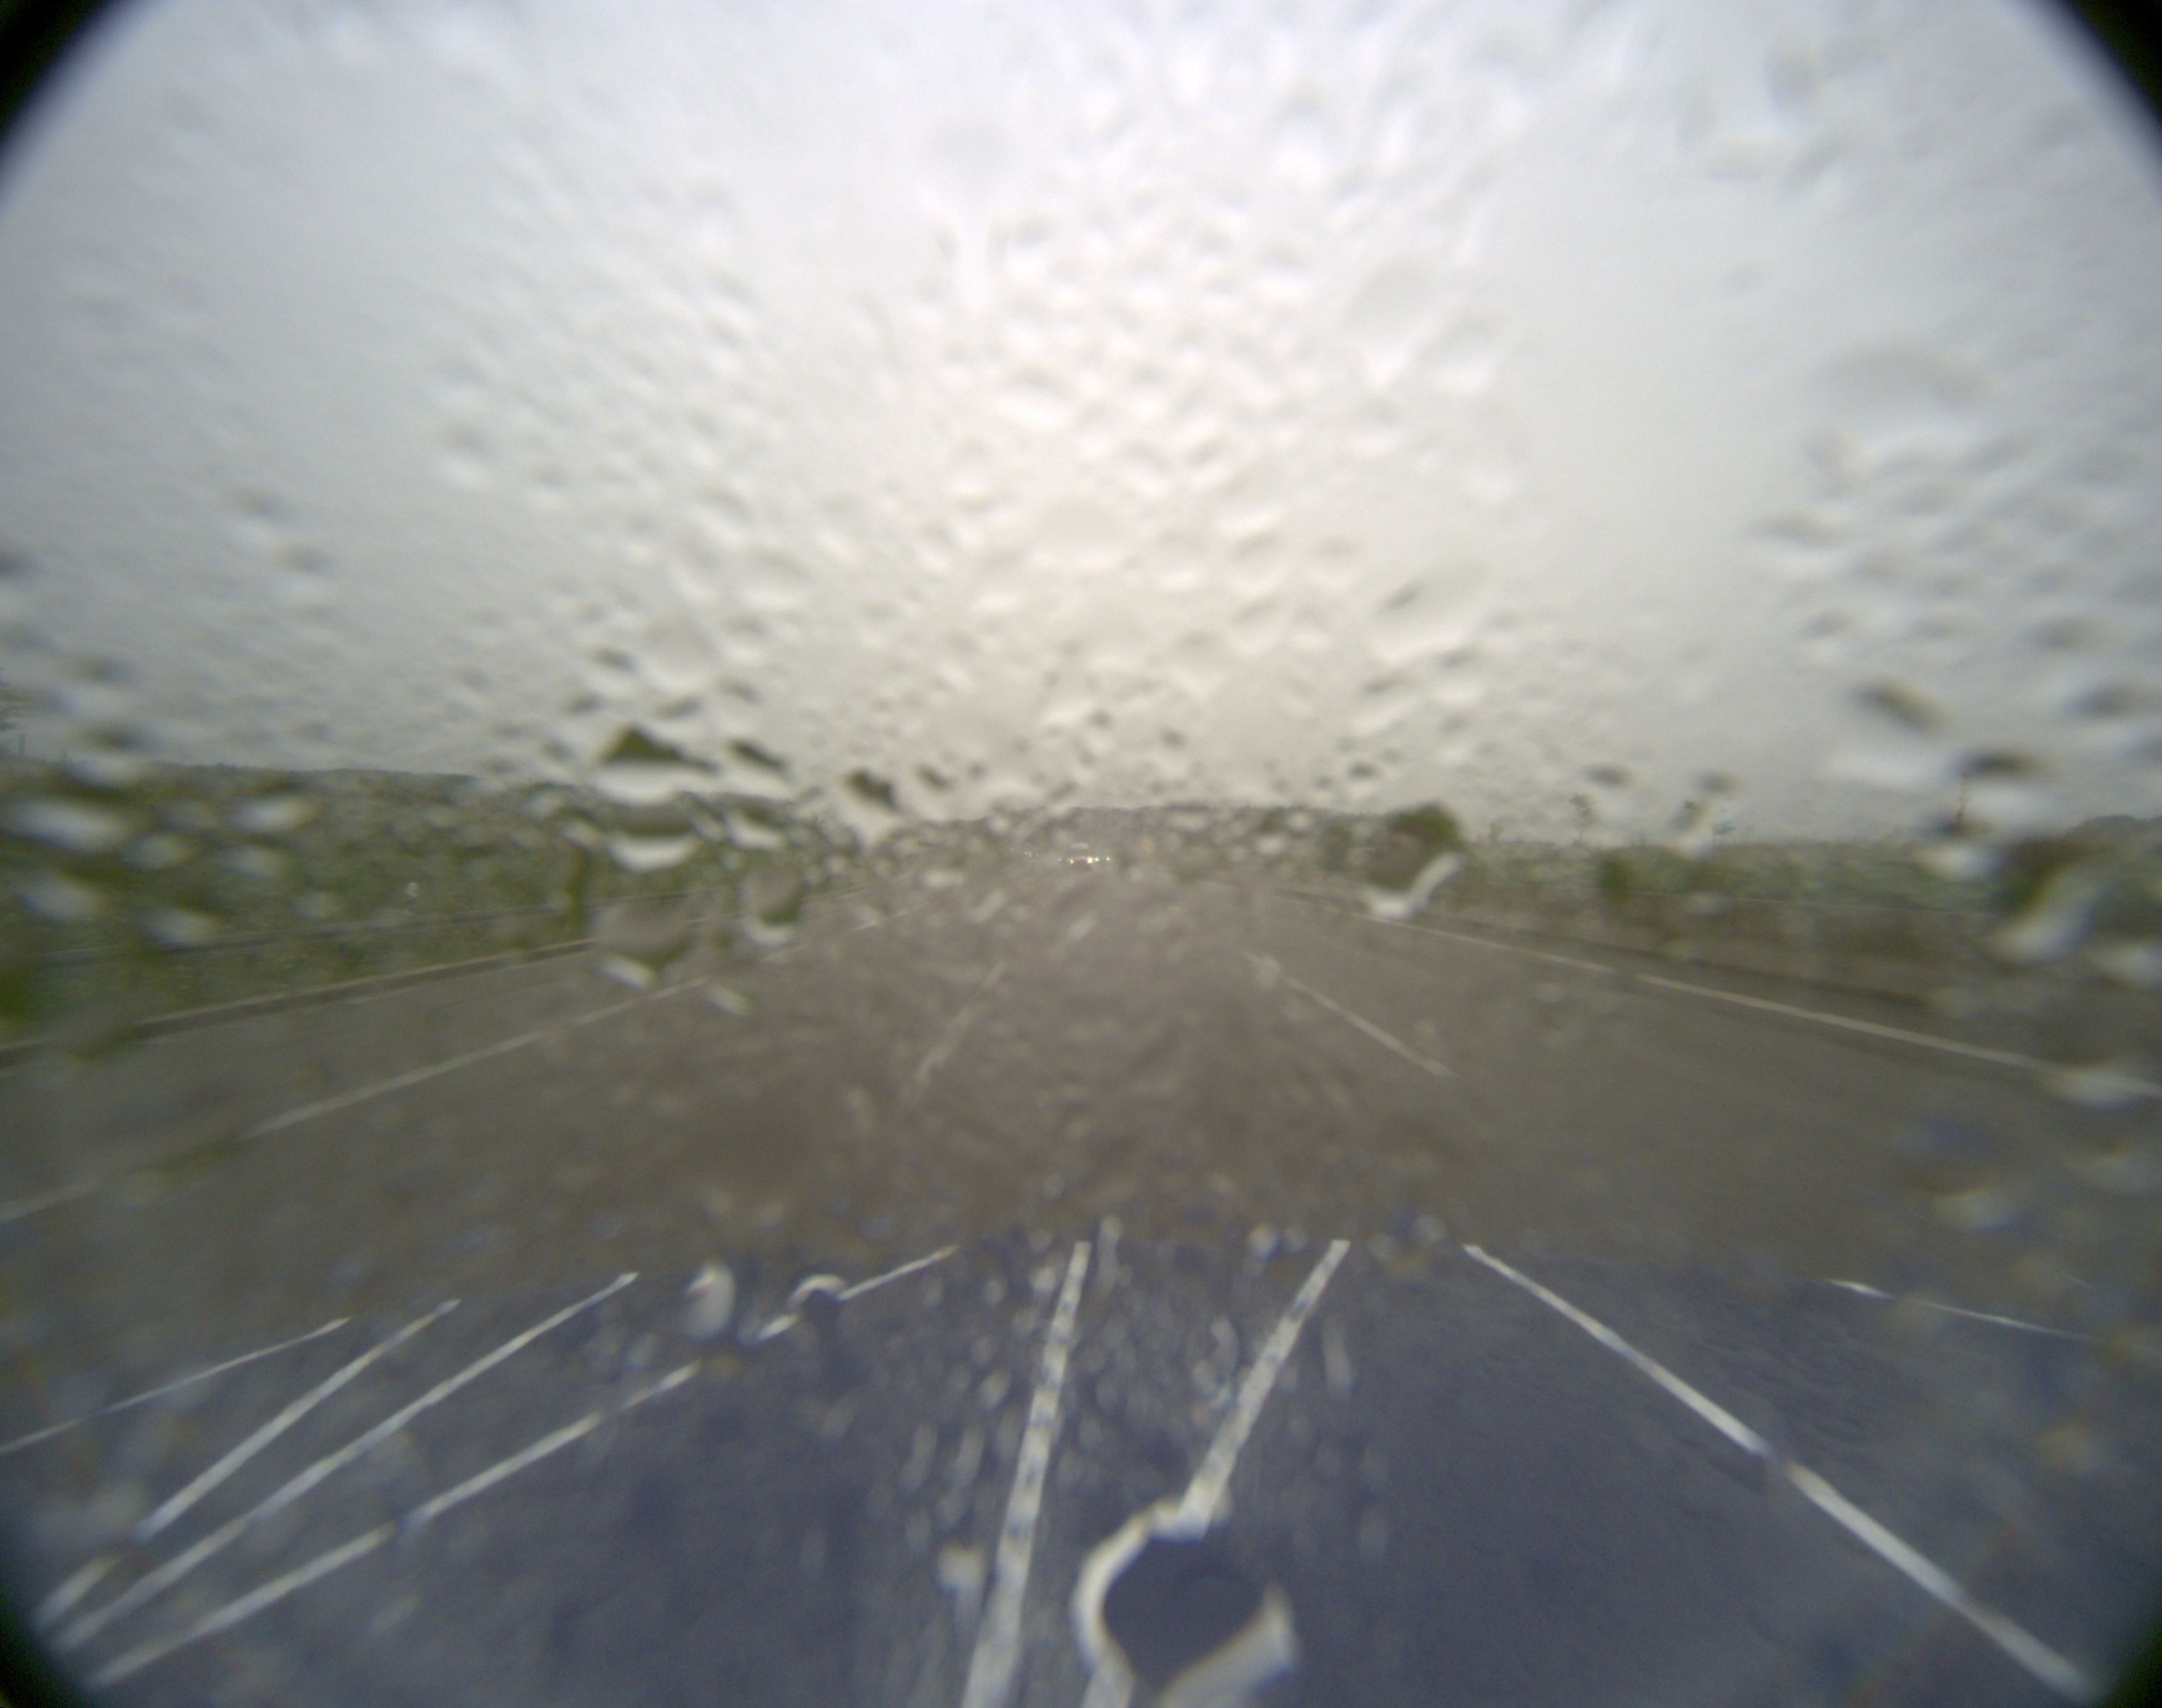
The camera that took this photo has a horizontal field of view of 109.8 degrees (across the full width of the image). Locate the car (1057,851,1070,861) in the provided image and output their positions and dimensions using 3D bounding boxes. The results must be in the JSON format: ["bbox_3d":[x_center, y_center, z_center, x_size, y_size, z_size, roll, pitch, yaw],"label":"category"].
[{"bbox_3d":[-2.749,0.300,123.512,1.999,1.521,3.999,-1,0,0],"label":"car"}]

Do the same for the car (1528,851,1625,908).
[{"bbox_3d":[19.551,0.964,30.128,1.633,2.002,3.383,-2,2,0],"label":"car"}]

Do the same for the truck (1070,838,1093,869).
[{"bbox_3d":[0.015,-0.098,72.704,1.998,2.699,7.997,-2,2,0],"label":"truck"}]

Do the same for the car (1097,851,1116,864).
[{"bbox_3d":[3.217,0.396,96.486,1.999,1.608,3.999,-2,0,-2],"label":"car"}]

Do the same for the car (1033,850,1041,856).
[{"bbox_3d":[-11.949,-0.359,205.553,1.998,1.543,4.000,-2,0,0],"label":"car"}]

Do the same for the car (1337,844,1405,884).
[{"bbox_3d":[13.298,0.418,35.070,1.584,1.609,3.936,-2,2,0],"label":"car"}]

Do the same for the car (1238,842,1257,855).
[{"bbox_3d":[18.619,-0.626,85.213,1.362,1.374,3.204,-2,2,0],"label":"car"}]
